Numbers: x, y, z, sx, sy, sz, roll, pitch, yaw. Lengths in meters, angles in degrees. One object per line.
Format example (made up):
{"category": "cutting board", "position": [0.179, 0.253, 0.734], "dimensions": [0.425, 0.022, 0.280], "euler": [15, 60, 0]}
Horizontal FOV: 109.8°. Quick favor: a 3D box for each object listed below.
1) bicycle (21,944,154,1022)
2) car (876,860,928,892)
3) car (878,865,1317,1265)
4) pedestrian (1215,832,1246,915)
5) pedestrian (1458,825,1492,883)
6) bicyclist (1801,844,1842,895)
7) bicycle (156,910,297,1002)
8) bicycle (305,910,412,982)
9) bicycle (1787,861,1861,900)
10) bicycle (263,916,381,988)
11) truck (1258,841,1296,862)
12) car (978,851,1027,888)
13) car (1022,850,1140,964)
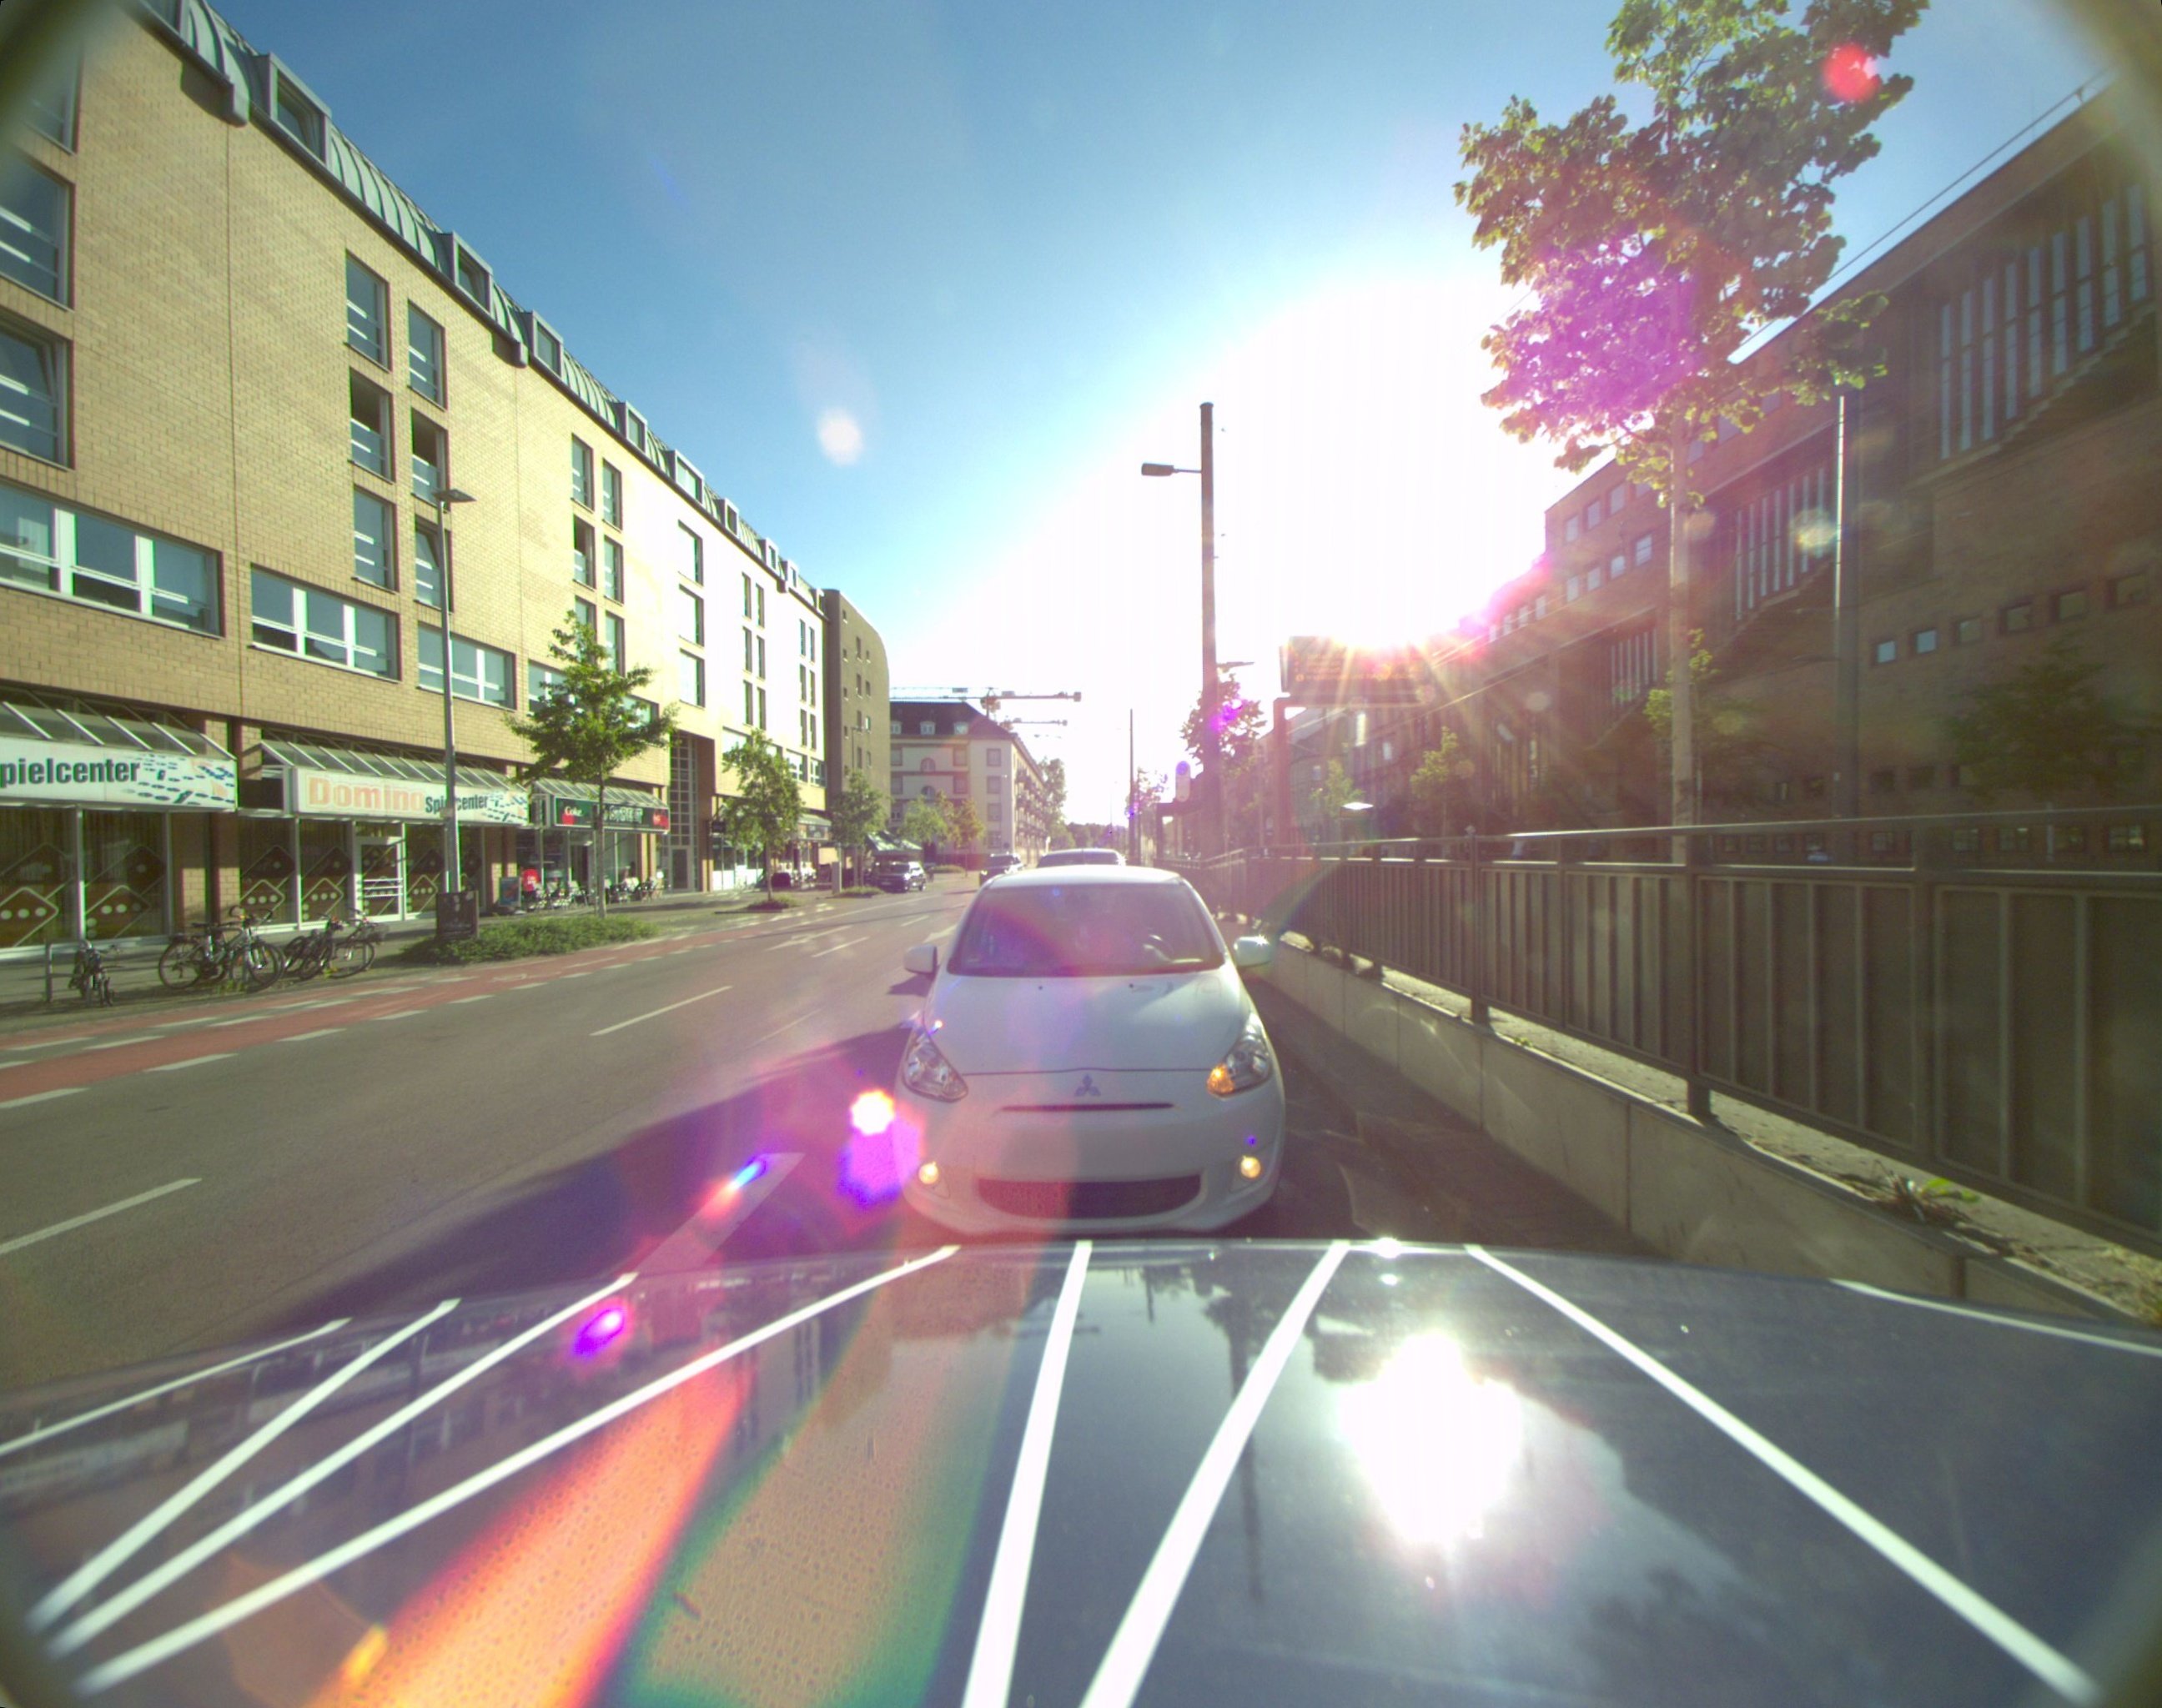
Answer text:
{"category": "bicycle", "position": [-12.749, 1.630, 9.746], "dimensions": [1.772, 0.827, 0.366], "euler": [1, 2, 15]}
{"category": "car", "position": [-9.757, 1.150, 41.692], "dimensions": [1.779, 1.630, 4.000], "euler": [-1, 0, 1]}
{"category": "car", "position": [0.068, 0.892, 5.189], "dimensions": [1.720, 1.422, 4.215], "euler": [-2, 1, 0]}
{"category": "pedestrian", "position": [4.466, 0.579, 22.708], "dimensions": [0.684, 2.428, 0.626], "euler": [-2, 2, -2]}
{"category": "pedestrian", "position": [12.570, 0.006, 24.252], "dimensions": [0.685, 1.797, 0.668], "euler": [-2, 2, 0]}
{"category": "bicyclist", "position": [22.458, 0.462, 23.046], "dimensions": [0.588, 1.525, 0.650], "euler": [-2, 2, 1]}
{"category": "bicycle", "position": [-12.284, 1.437, 10.929], "dimensions": [1.835, 1.156, 0.565], "euler": [1, 2, 15]}
{"category": "bicycle", "position": [-11.888, 1.494, 12.492], "dimensions": [1.835, 1.050, 0.350], "euler": [1, 2, 15]}
{"category": "bicycle", "position": [22.469, 0.792, 23.028], "dimensions": [0.461, 1.084, 1.814], "euler": [1, 1, 1]}
{"category": "bicycle", "position": [-12.012, 1.531, 12.024], "dimensions": [1.835, 0.980, 0.449], "euler": [1, 2, 15]}
{"category": "truck", "position": [17.891, -0.209, 69.579], "dimensions": [1.999, 1.868, 5.155], "euler": [1, 0, 0]}
{"category": "car", "position": [-4.308, 0.806, 42.257], "dimensions": [2.164, 1.904, 4.472], "euler": [-2, 0, 0]}
{"category": "car", "position": [-0.001, 0.794, 13.592], "dimensions": [1.720, 1.591, 4.215], "euler": [-2, 1, 0]}
